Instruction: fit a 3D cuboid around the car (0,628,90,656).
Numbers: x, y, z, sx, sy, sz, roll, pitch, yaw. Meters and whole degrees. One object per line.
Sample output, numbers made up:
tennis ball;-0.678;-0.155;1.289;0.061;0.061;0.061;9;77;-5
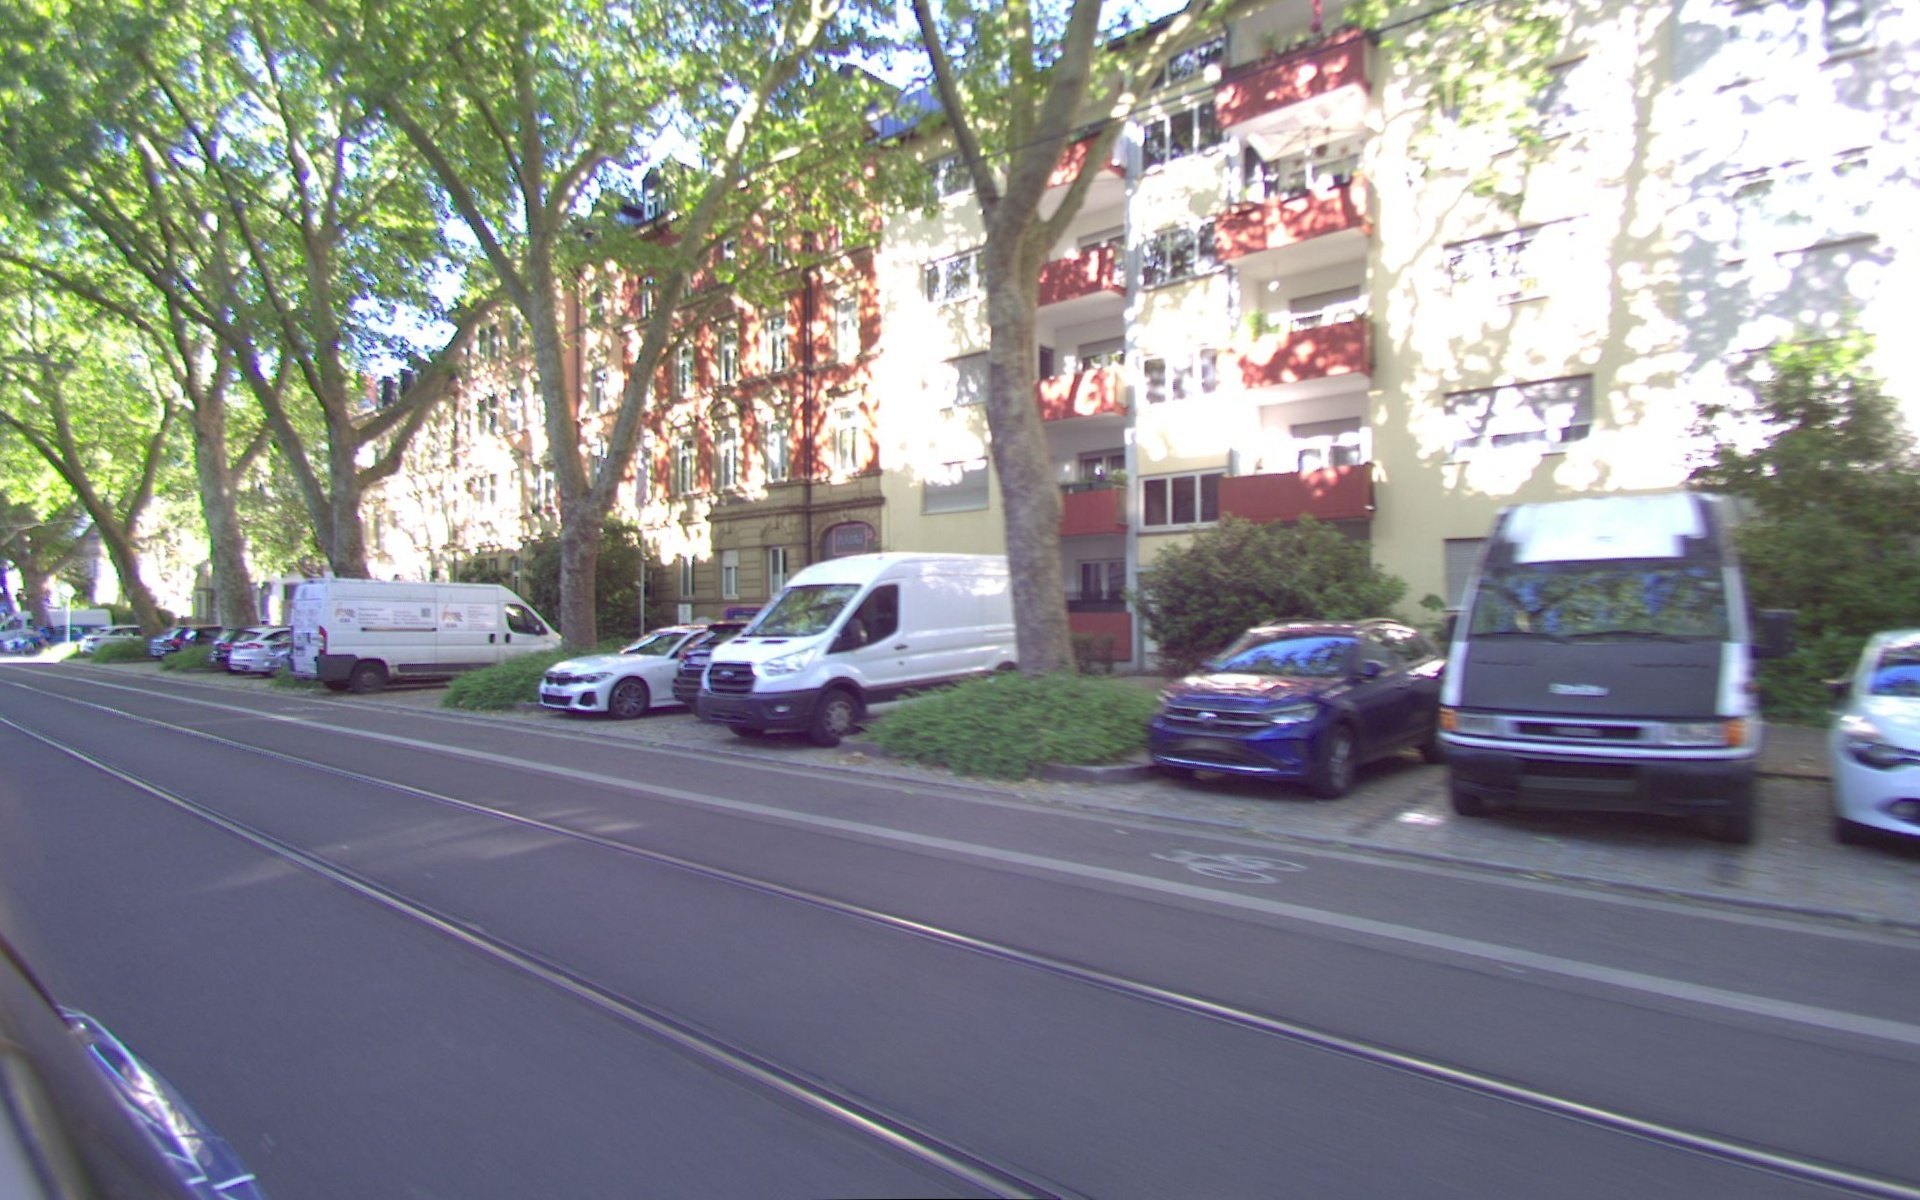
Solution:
car;-53.513;2.417;59.150;1.745;1.529;3.733;-1;-1;37

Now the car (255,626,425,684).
car;-17.299;1.484;28.341;1.704;1.443;3.767;-2;-1;43

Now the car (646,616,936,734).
car;-2.519;1.059;15.951;1.871;1.550;4.326;-1;-1;40

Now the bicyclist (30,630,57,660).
bicyclist;-47.658;2.355;52.627;0.735;1.538;0.859;-2;-2;35

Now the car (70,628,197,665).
car;-35.581;1.964;43.642;1.877;1.471;3.946;-2;-2;40

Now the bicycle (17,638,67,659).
bicycle;-47.704;2.532;52.607;0.627;1.039;1.854;-2;-2;35

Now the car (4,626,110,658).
car;-51.839;2.375;58.153;1.814;1.725;4.279;-1;-1;37

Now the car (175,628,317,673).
car;-25.672;1.768;36.485;1.704;1.471;3.944;-2;-2;42

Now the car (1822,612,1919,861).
car;7.399;0.826;7.168;1.859;1.489;3.816;-1;-1;39

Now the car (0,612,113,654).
car;-58.575;2.110;64.655;1.999;2.426;6.534;-2;0;41

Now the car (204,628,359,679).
car;-21.232;1.624;31.759;1.704;1.471;3.753;-2;-2;41

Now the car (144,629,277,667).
car;-29.609;1.853;40.064;1.601;1.379;3.952;-1;-1;35

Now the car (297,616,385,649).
car;-39.327;2.024;64.352;4.514;1.894;2.133;1;1;-40

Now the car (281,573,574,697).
car;-12.255;0.741;23.679;2.161;2.555;5.681;-2;-1;41

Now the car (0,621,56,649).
car;-69.440;2.570;74.161;1.923;1.922;4.575;-2;0;45

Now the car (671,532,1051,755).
car;-1.125;0.527;14.027;2.056;2.496;5.304;-2;-2;41

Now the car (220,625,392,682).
car;-19.301;1.529;29.962;1.829;1.507;3.945;-1;-1;41

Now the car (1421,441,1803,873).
car;5.629;0.378;8.670;2.078;2.587;4.899;-1;-1;36

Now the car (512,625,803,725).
car;-4.963;1.151;17.091;1.932;1.395;4.364;-1;-1;40

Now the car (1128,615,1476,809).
car;3.531;0.911;10.010;1.871;1.477;3.977;-1;-1;41

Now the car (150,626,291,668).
car;-27.800;1.732;38.165;1.764;1.471;3.957;-1;-1;31
